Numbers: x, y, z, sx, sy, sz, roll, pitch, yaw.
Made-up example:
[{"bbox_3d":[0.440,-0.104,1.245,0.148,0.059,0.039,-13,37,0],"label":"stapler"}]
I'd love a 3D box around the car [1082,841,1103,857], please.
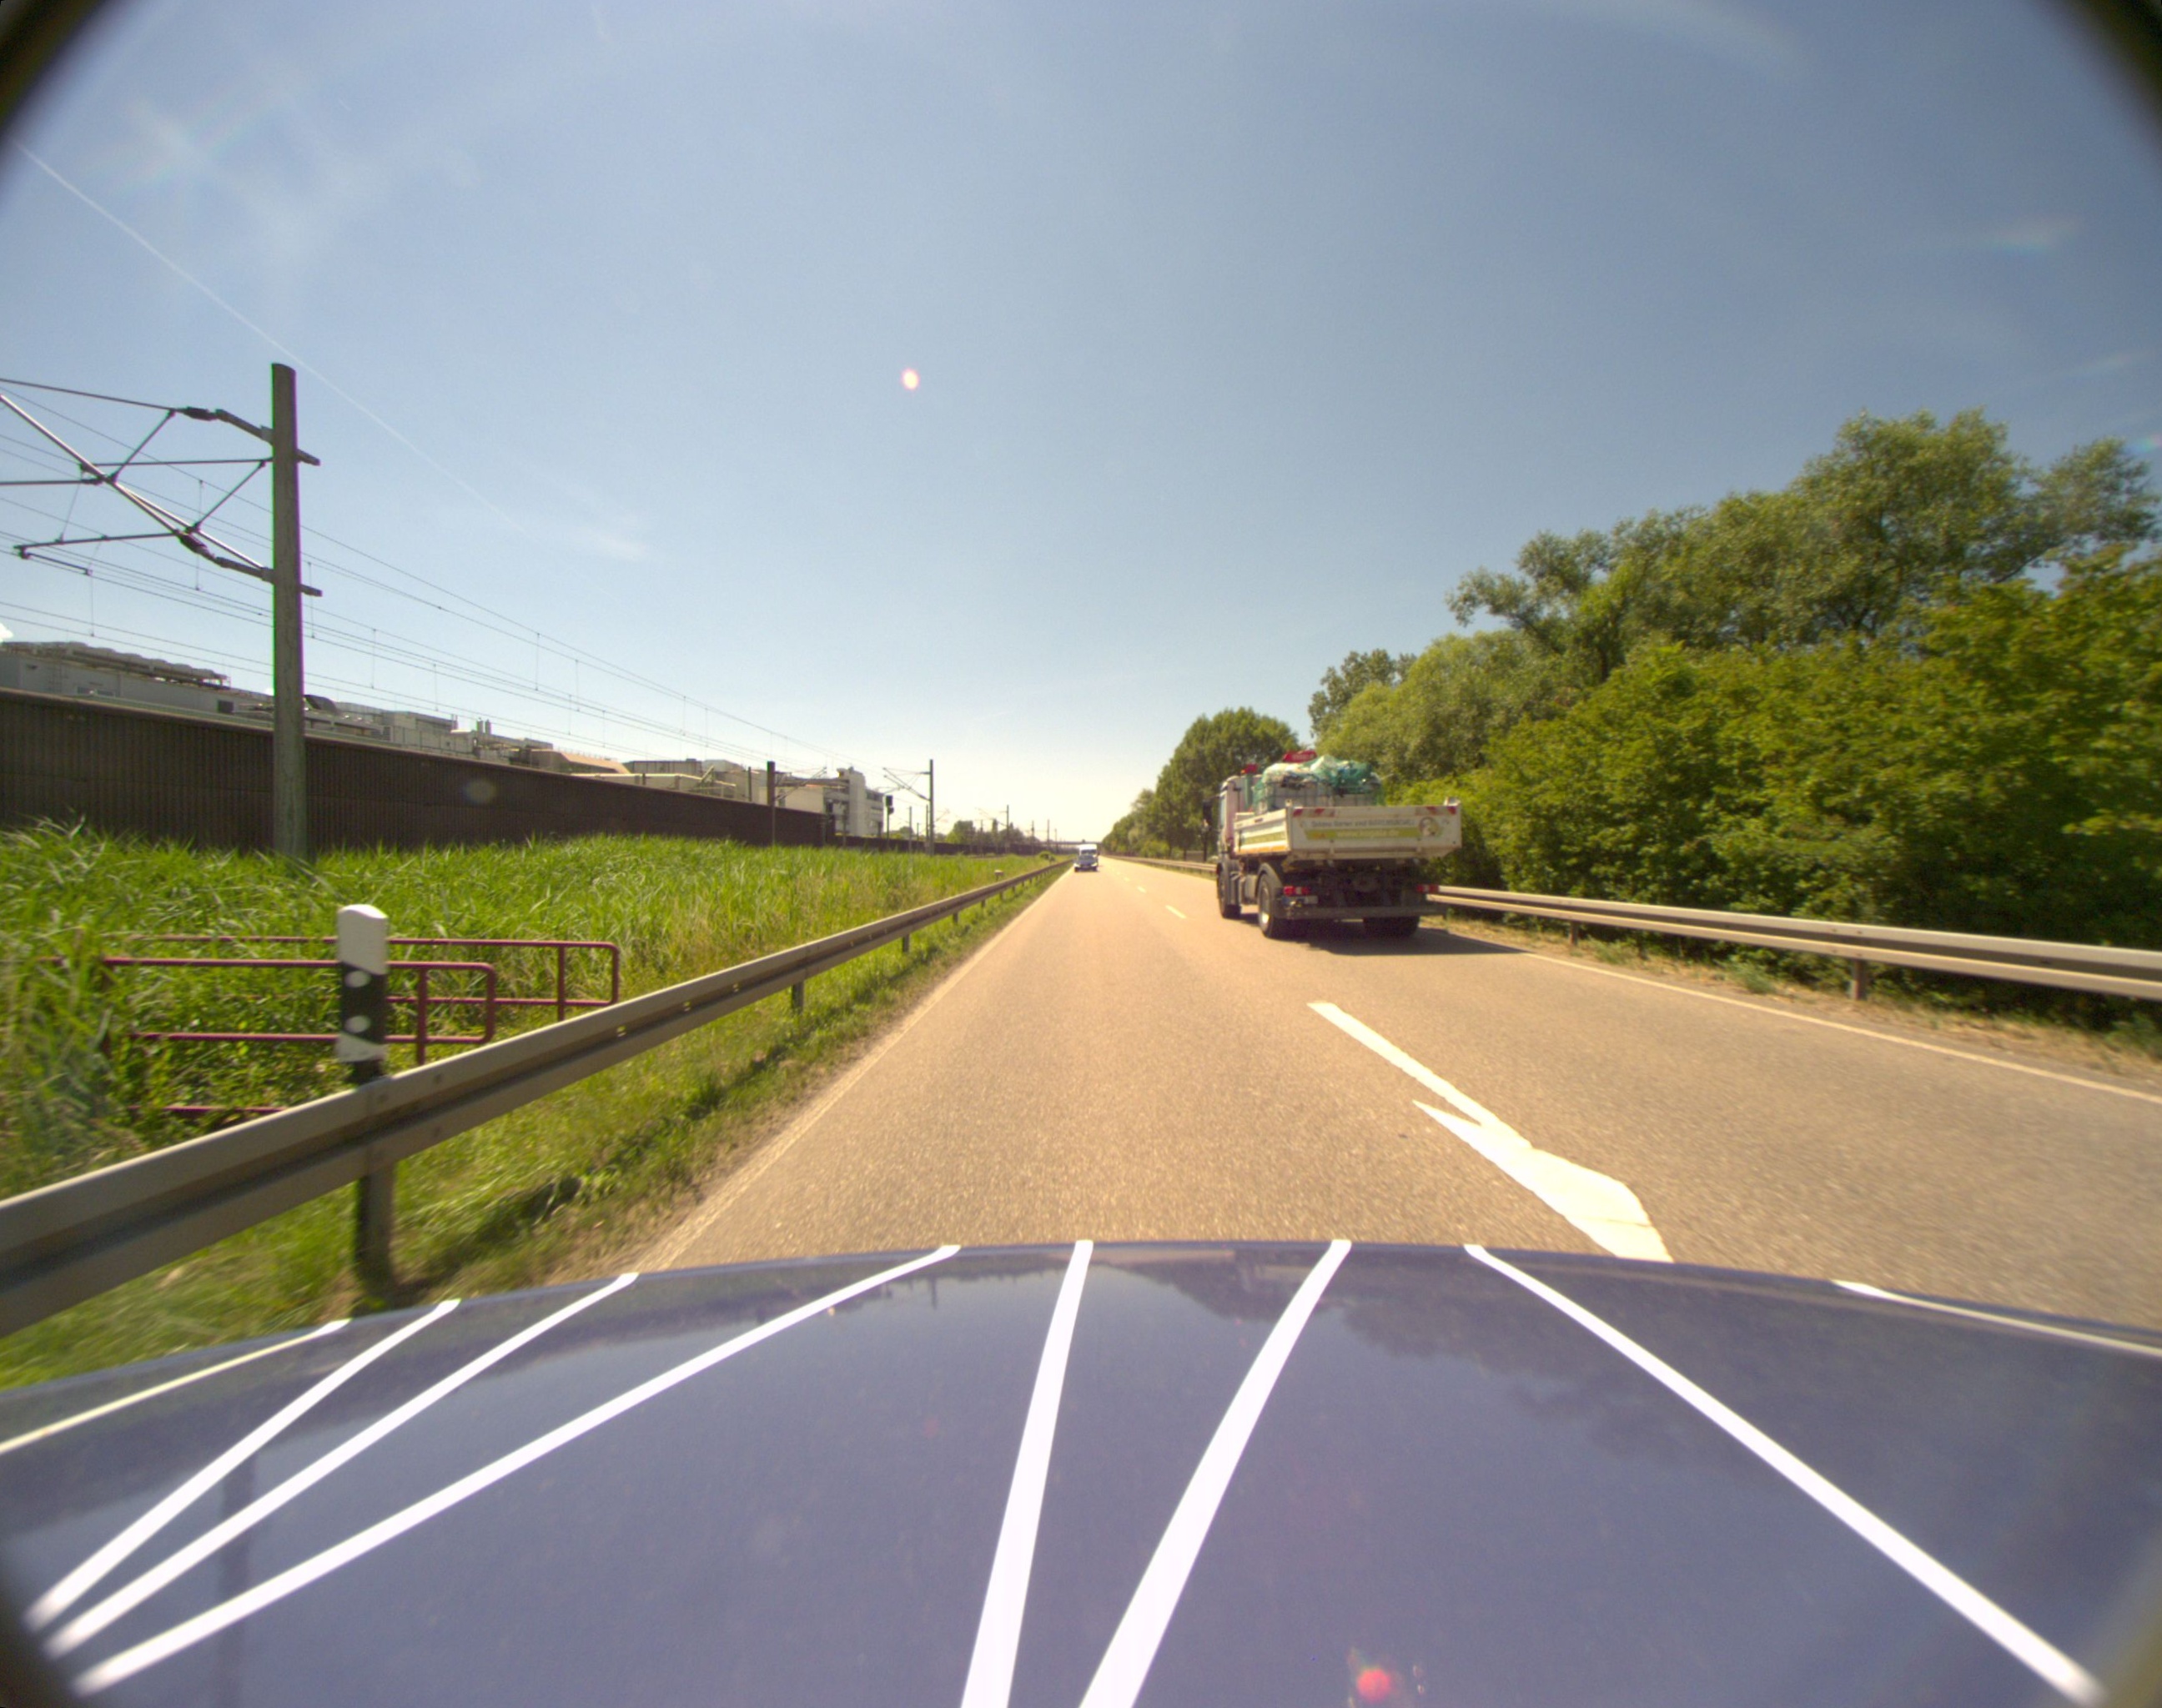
[{"bbox_3d":[1.283,-0.571,84.993,2.161,1.701,4.492,-2,0,1],"label":"car"}]

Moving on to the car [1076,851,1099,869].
[{"bbox_3d":[0.545,0.468,62.220,1.758,1.313,4.000,-2,0,1],"label":"car"}]

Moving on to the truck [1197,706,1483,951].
[{"bbox_3d":[4.296,-0.381,14.818,2.791,3.385,7.988,-2,0,0],"label":"truck"}]
